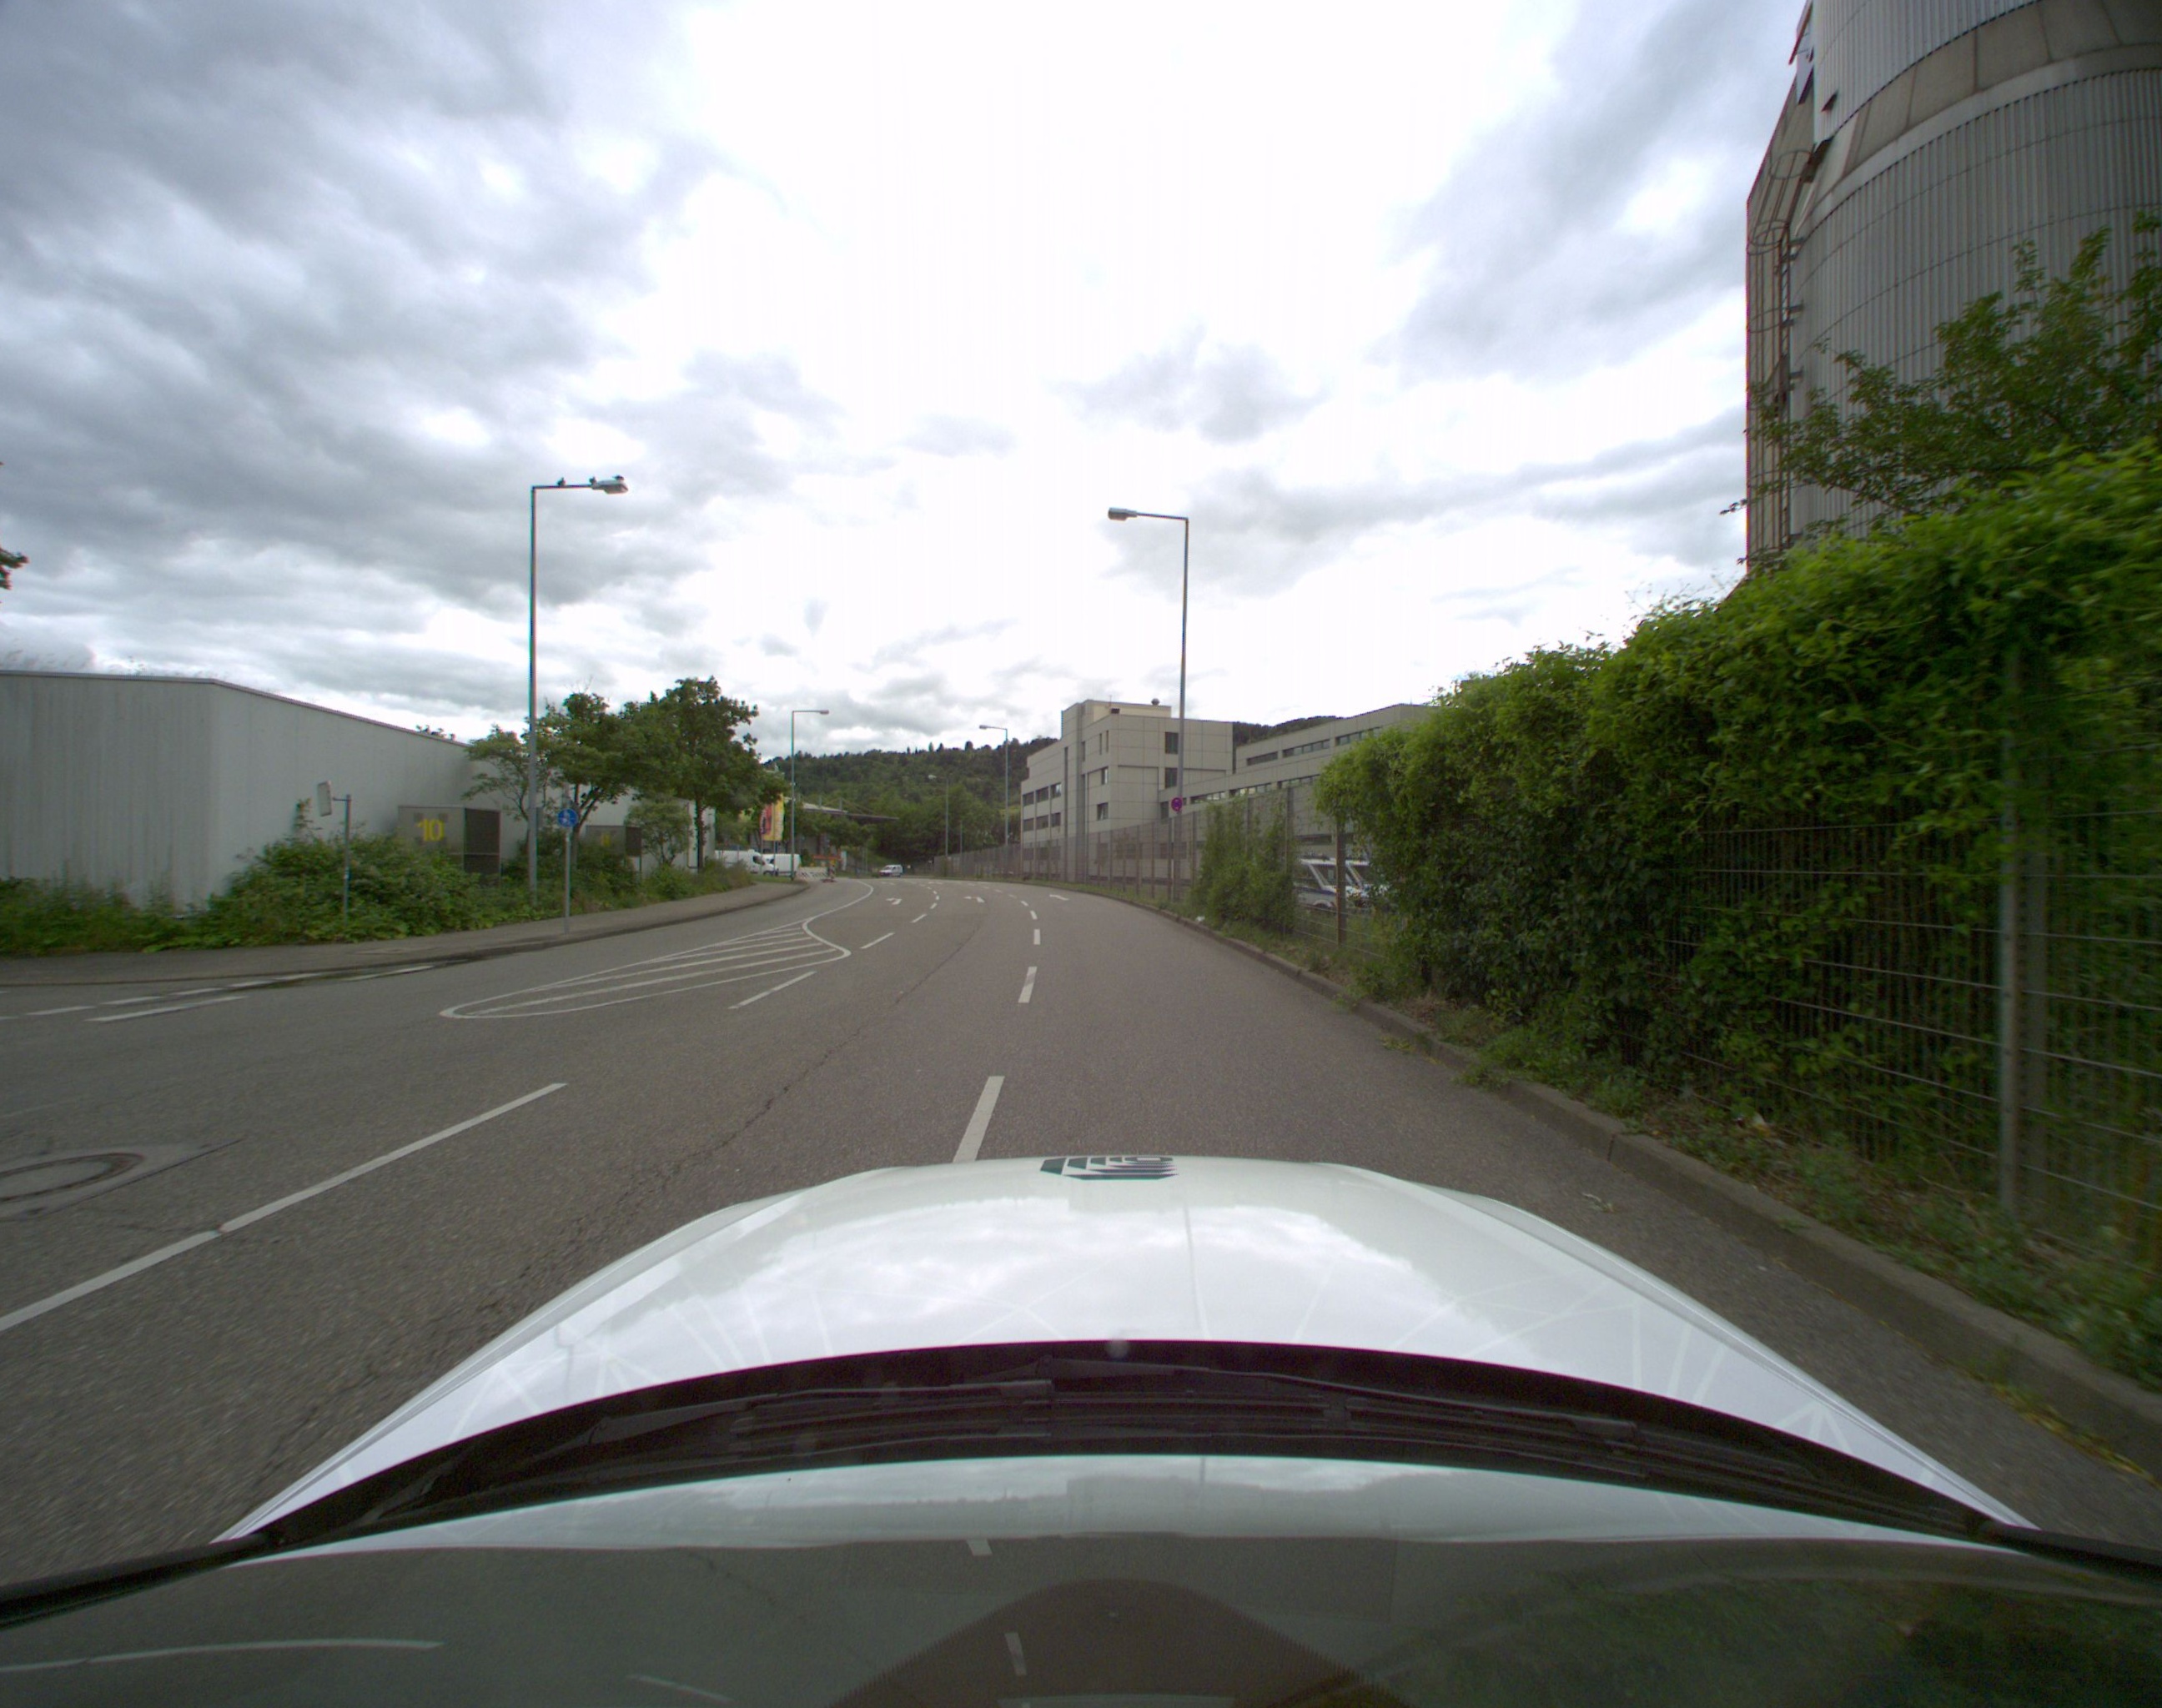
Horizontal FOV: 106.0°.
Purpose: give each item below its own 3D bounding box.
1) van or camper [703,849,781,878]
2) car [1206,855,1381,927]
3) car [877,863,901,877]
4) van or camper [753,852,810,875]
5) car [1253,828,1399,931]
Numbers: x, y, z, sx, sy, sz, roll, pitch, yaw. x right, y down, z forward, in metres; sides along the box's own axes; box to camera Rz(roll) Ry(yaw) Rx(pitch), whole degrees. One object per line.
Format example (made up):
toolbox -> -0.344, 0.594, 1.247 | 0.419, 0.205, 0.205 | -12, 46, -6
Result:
van or camper -> -29.659, 0.877, 71.465 | 5.997, 2.247, 2.382 | 3, -3, -17
car -> 7.282, 1.219, 28.683 | 2.009, 2.263, 6.101 | 2, -2, -36
car -> -28.094, 2.399, 119.353 | 1.981, 2.014, 4.142 | 1, -1, 10
van or camper -> -32.248, 1.098, 87.932 | 1.992, 2.326, 6.683 | 0, -2, 18
car -> 5.336, 0.572, 18.461 | 1.986, 2.014, 4.847 | 0, -2, 2
